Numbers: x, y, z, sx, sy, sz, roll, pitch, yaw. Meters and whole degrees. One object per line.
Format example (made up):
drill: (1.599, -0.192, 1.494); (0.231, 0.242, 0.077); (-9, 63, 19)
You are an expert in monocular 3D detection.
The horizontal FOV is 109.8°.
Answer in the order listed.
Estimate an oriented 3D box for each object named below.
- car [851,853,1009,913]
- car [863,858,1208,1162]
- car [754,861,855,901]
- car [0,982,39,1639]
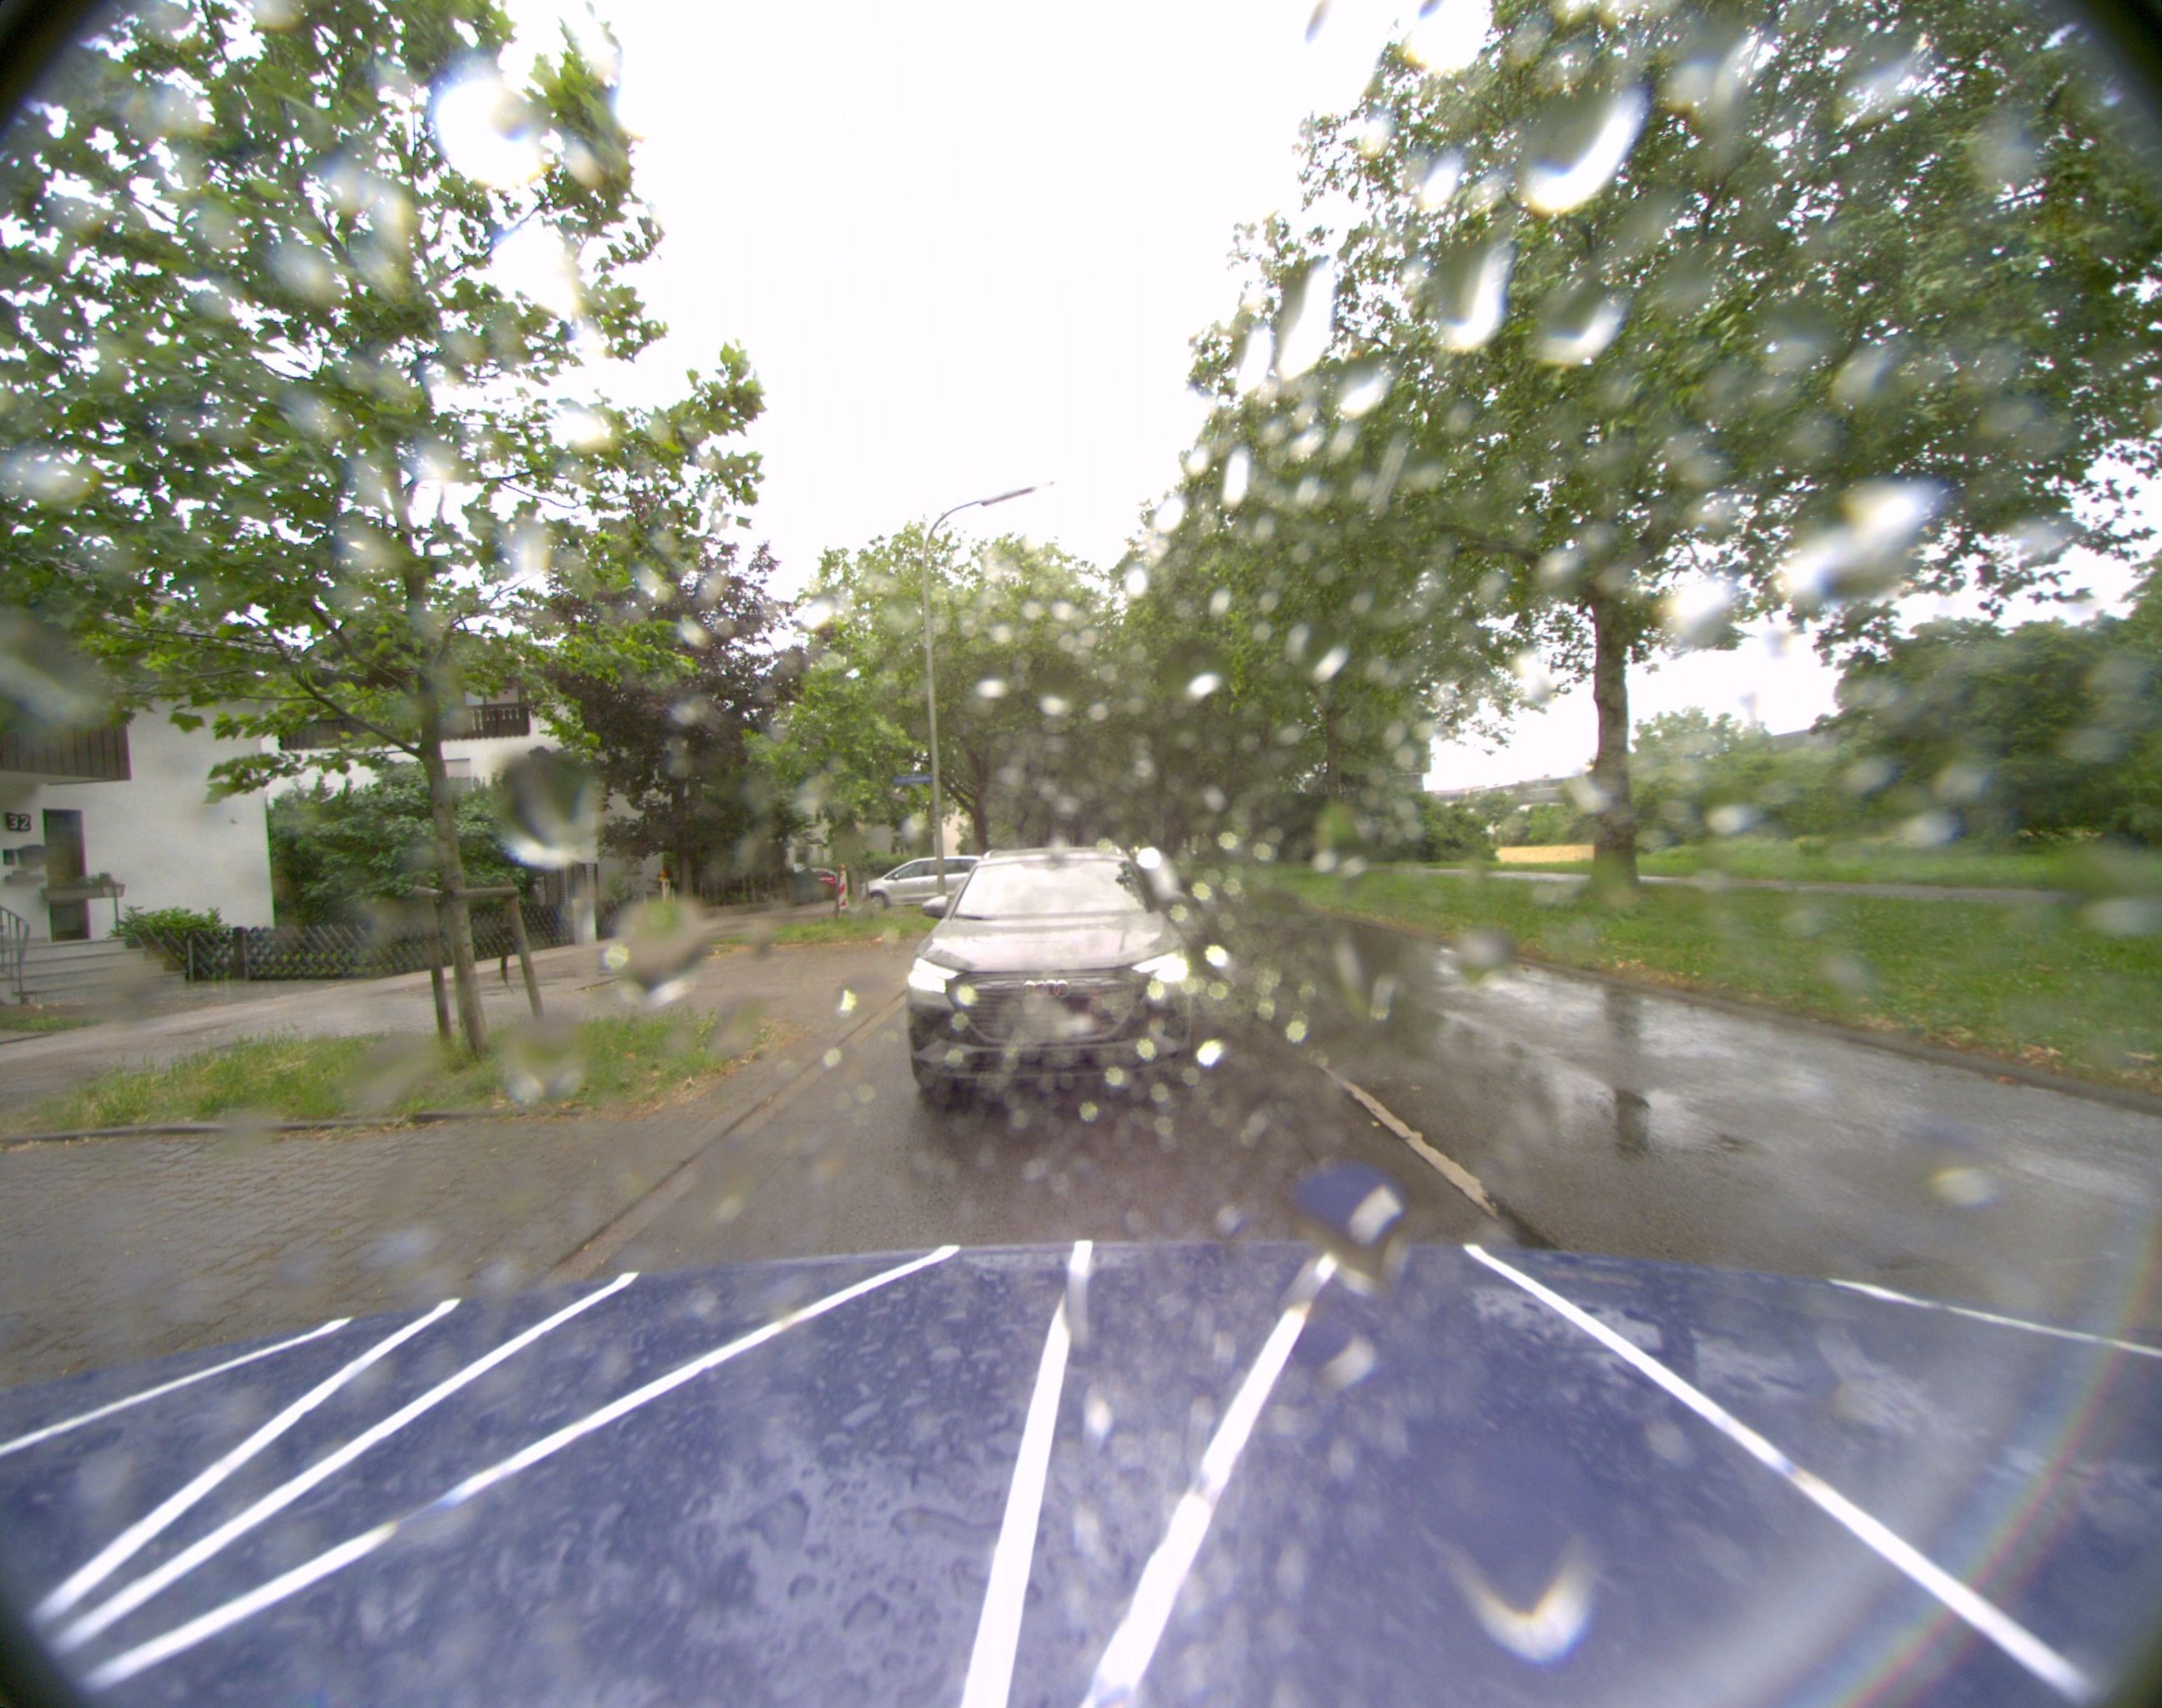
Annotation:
car: (-4.795, 0.901, 24.752); (4.701, 1.651, 1.976); (-3, 0, -1)
car: (-0.221, 0.888, 6.467); (1.862, 1.608, 4.423); (-3, 0, 1)
car: (-12.648, 1.235, 34.902); (3.853, 1.603, 1.843); (-3, 0, 2)
car: (-4.778, 1.120, 0.636); (4.779, 1.464, 1.937); (-2, 0, -4)
